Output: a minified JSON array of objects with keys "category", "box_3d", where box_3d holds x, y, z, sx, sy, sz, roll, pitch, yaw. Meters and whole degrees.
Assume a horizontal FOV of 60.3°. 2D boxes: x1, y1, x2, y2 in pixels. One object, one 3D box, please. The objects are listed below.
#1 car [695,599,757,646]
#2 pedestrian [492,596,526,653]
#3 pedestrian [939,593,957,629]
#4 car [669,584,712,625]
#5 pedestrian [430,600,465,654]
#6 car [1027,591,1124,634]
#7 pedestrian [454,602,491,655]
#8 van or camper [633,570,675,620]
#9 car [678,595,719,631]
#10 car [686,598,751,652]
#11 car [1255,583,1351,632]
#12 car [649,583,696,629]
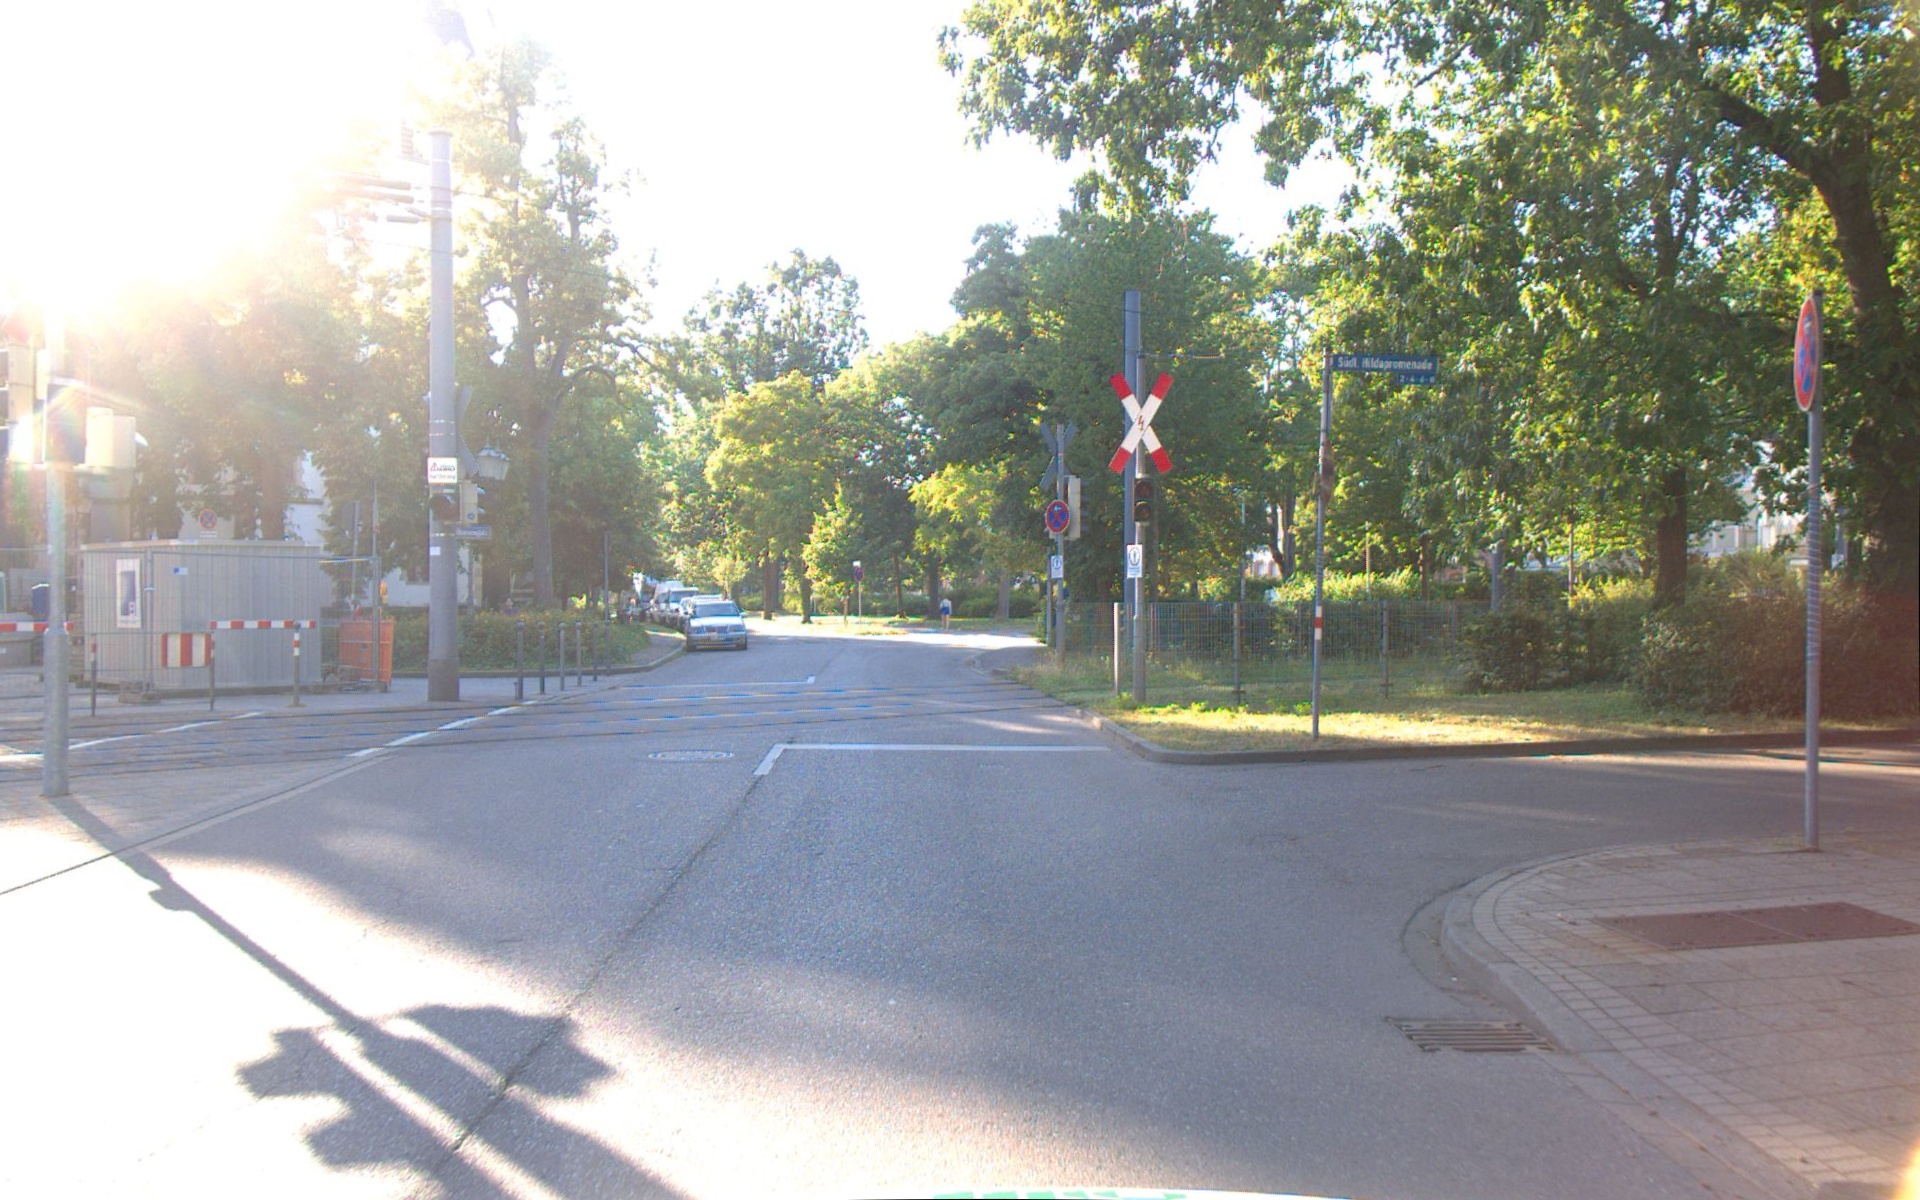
[{"category":"car","box_3d":[-7.975,0.724,56.128,1.792,1.440,4.482,-2,1,-11]},{"category":"pedestrian","box_3d":[-10.613,0.574,38.947,0.539,1.320,0.766,0,0,5]},{"category":"pedestrian","box_3d":[-0.540,0.484,73.648,0.758,1.602,0.767,0,0,-3]},{"category":"car","box_3d":[-13.425,0.232,82.145,1.819,1.980,4.825,0,0,-13]},{"category":"pedestrian","box_3d":[-12.012,0.621,38.776,0.539,1.254,0.725,0,0,5]},{"category":"car","box_3d":[4.872,0.511,69.247,1.776,1.705,4.294,2,2,42]},{"category":"pedestrian","box_3d":[-11.437,0.666,38.805,0.539,1.216,0.884,0,0,5]},{"category":"van or camper","box_3d":[-18.818,-0.321,101.518,2.055,2.959,6.306,0,0,-15]},{"category":"car","box_3d":[-11.704,0.562,73.920,1.588,1.527,3.685,0,0,-13]},{"category":"car","box_3d":[-7.142,0.692,48.975,1.746,1.440,4.489,-2,1,-8]},{"category":"car","box_3d":[14.979,0.310,72.005,1.923,2.049,5.126,0,0,40]},{"category":"car","box_3d":[-15.527,0.321,89.124,1.822,2.397,5.159,0,0,-18]}]
